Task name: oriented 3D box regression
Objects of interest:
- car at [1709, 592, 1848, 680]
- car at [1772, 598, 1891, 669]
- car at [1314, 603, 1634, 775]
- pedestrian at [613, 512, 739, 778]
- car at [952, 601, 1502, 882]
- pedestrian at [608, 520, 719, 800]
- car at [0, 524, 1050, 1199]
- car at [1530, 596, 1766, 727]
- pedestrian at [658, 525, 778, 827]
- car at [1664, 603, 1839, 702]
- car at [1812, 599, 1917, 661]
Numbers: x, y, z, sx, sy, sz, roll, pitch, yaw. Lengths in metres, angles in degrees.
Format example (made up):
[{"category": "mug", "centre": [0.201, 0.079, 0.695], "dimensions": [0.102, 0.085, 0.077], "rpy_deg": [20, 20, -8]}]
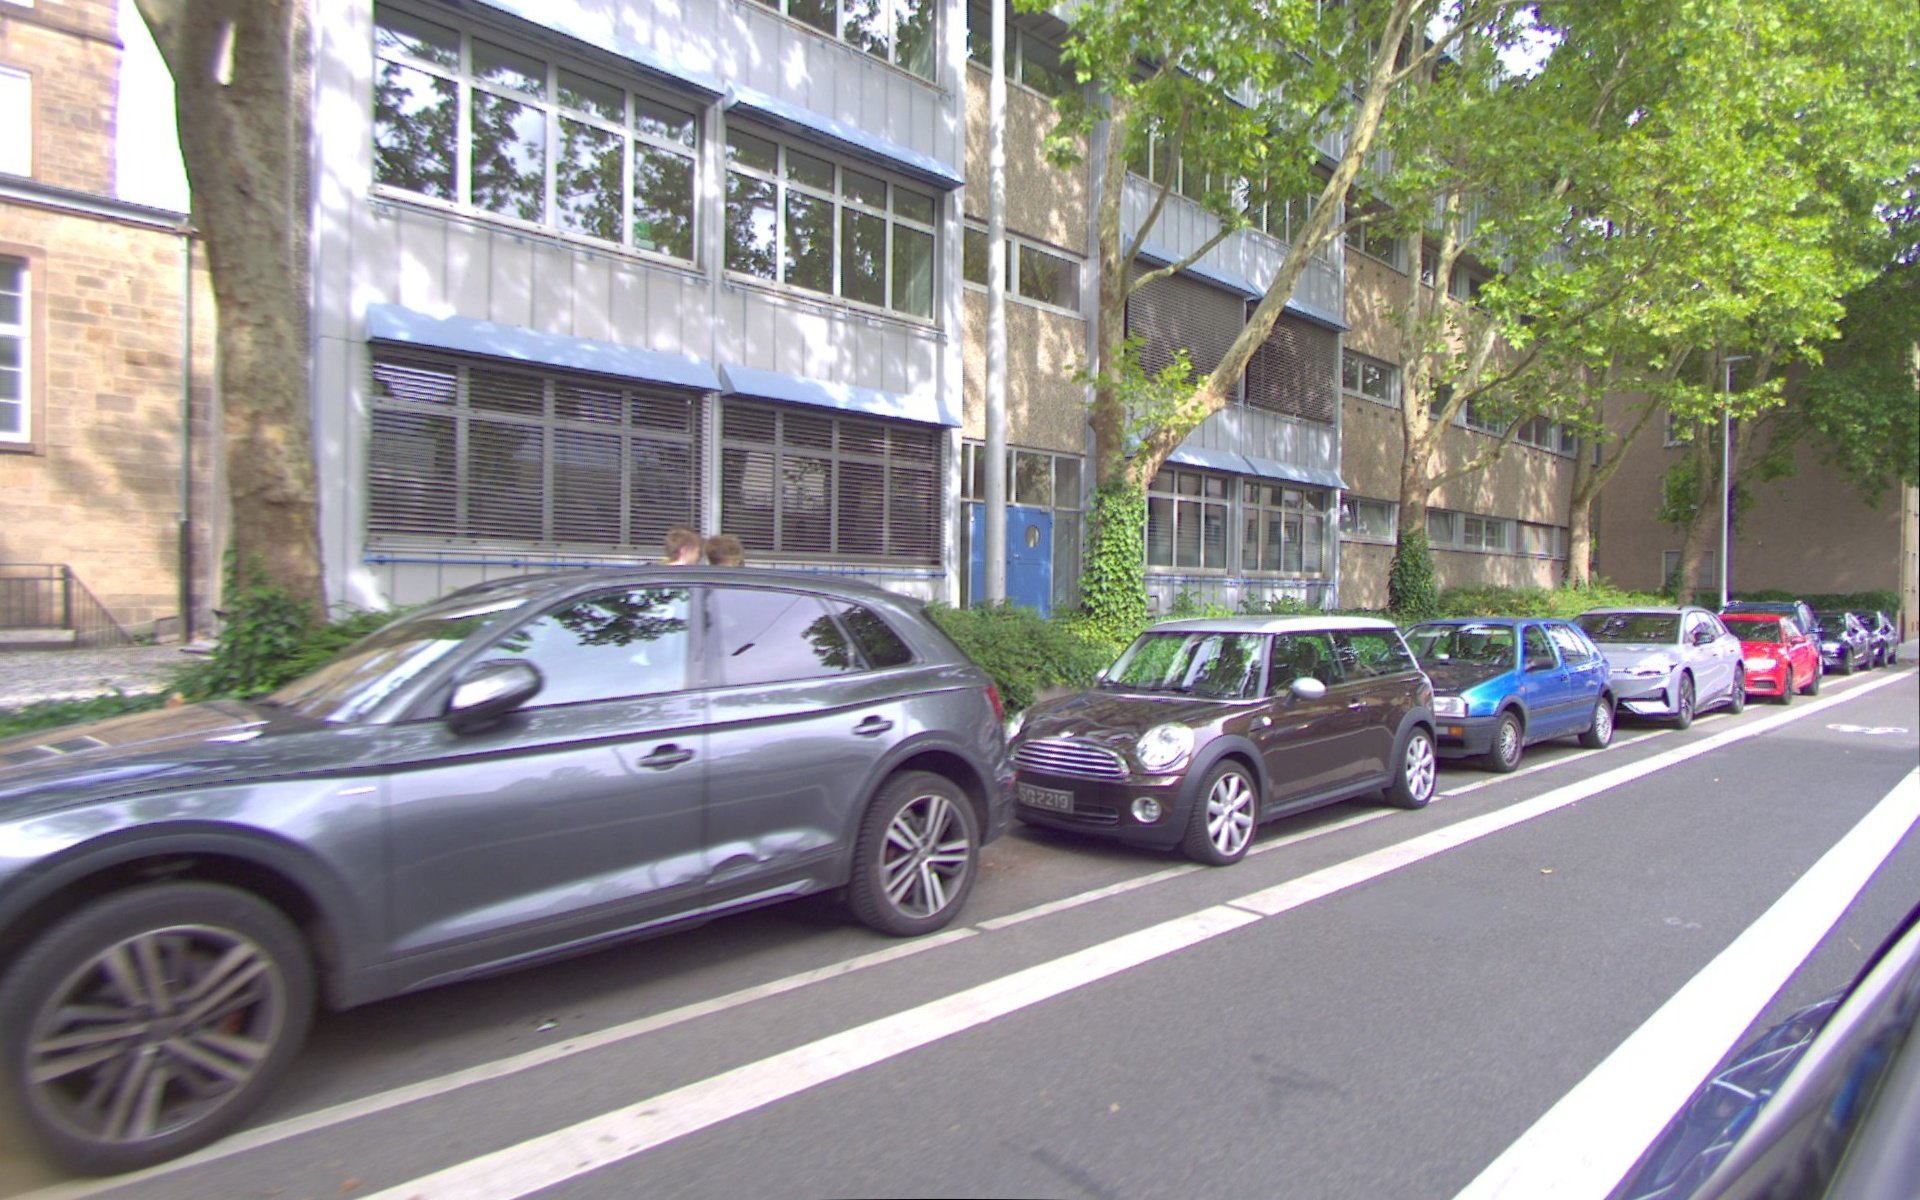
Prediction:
[{"category": "car", "centre": [17.303, 0.703, 21.348], "dimensions": [3.731, 1.686, 1.650], "rpy_deg": [0, -1, -41]}, {"category": "car", "centre": [20.808, 0.743, 24.120], "dimensions": [3.887, 1.545, 1.601], "rpy_deg": [0, -1, -41]}, {"category": "car", "centre": [5.414, 0.766, 10.448], "dimensions": [3.887, 1.441, 1.601], "rpy_deg": [0, -1, -41]}, {"category": "pedestrian", "centre": [-2.114, 0.294, 7.524], "dimensions": [0.635, 1.855, 0.643], "rpy_deg": [0, 4, -42]}, {"category": "car", "centre": [2.173, 0.745, 7.368], "dimensions": [4.493, 1.451, 1.642], "rpy_deg": [0, -1, -41]}, {"category": "pedestrian", "centre": [-2.021, 0.377, 6.887], "dimensions": [0.518, 1.806, 0.502], "rpy_deg": [0, 4, -42]}, {"category": "car", "centre": [-1.812, 0.650, 4.249], "dimensions": [4.405, 1.642, 1.922], "rpy_deg": [0, -1, -43]}, {"category": "car", "centre": [9.525, 0.726, 13.872], "dimensions": [4.363, 1.524, 1.601], "rpy_deg": [0, -1, -41]}, {"category": "pedestrian", "centre": [-1.548, 0.443, 6.444], "dimensions": [0.468, 1.806, 0.591], "rpy_deg": [0, 4, -42]}, {"category": "car", "centre": [13.483, 0.807, 17.161], "dimensions": [4.033, 1.465, 1.601], "rpy_deg": [0, -1, -41]}, {"category": "car", "centre": [24.306, 0.763, 27.154], "dimensions": [3.887, 1.545, 1.601], "rpy_deg": [0, -1, -41]}]
